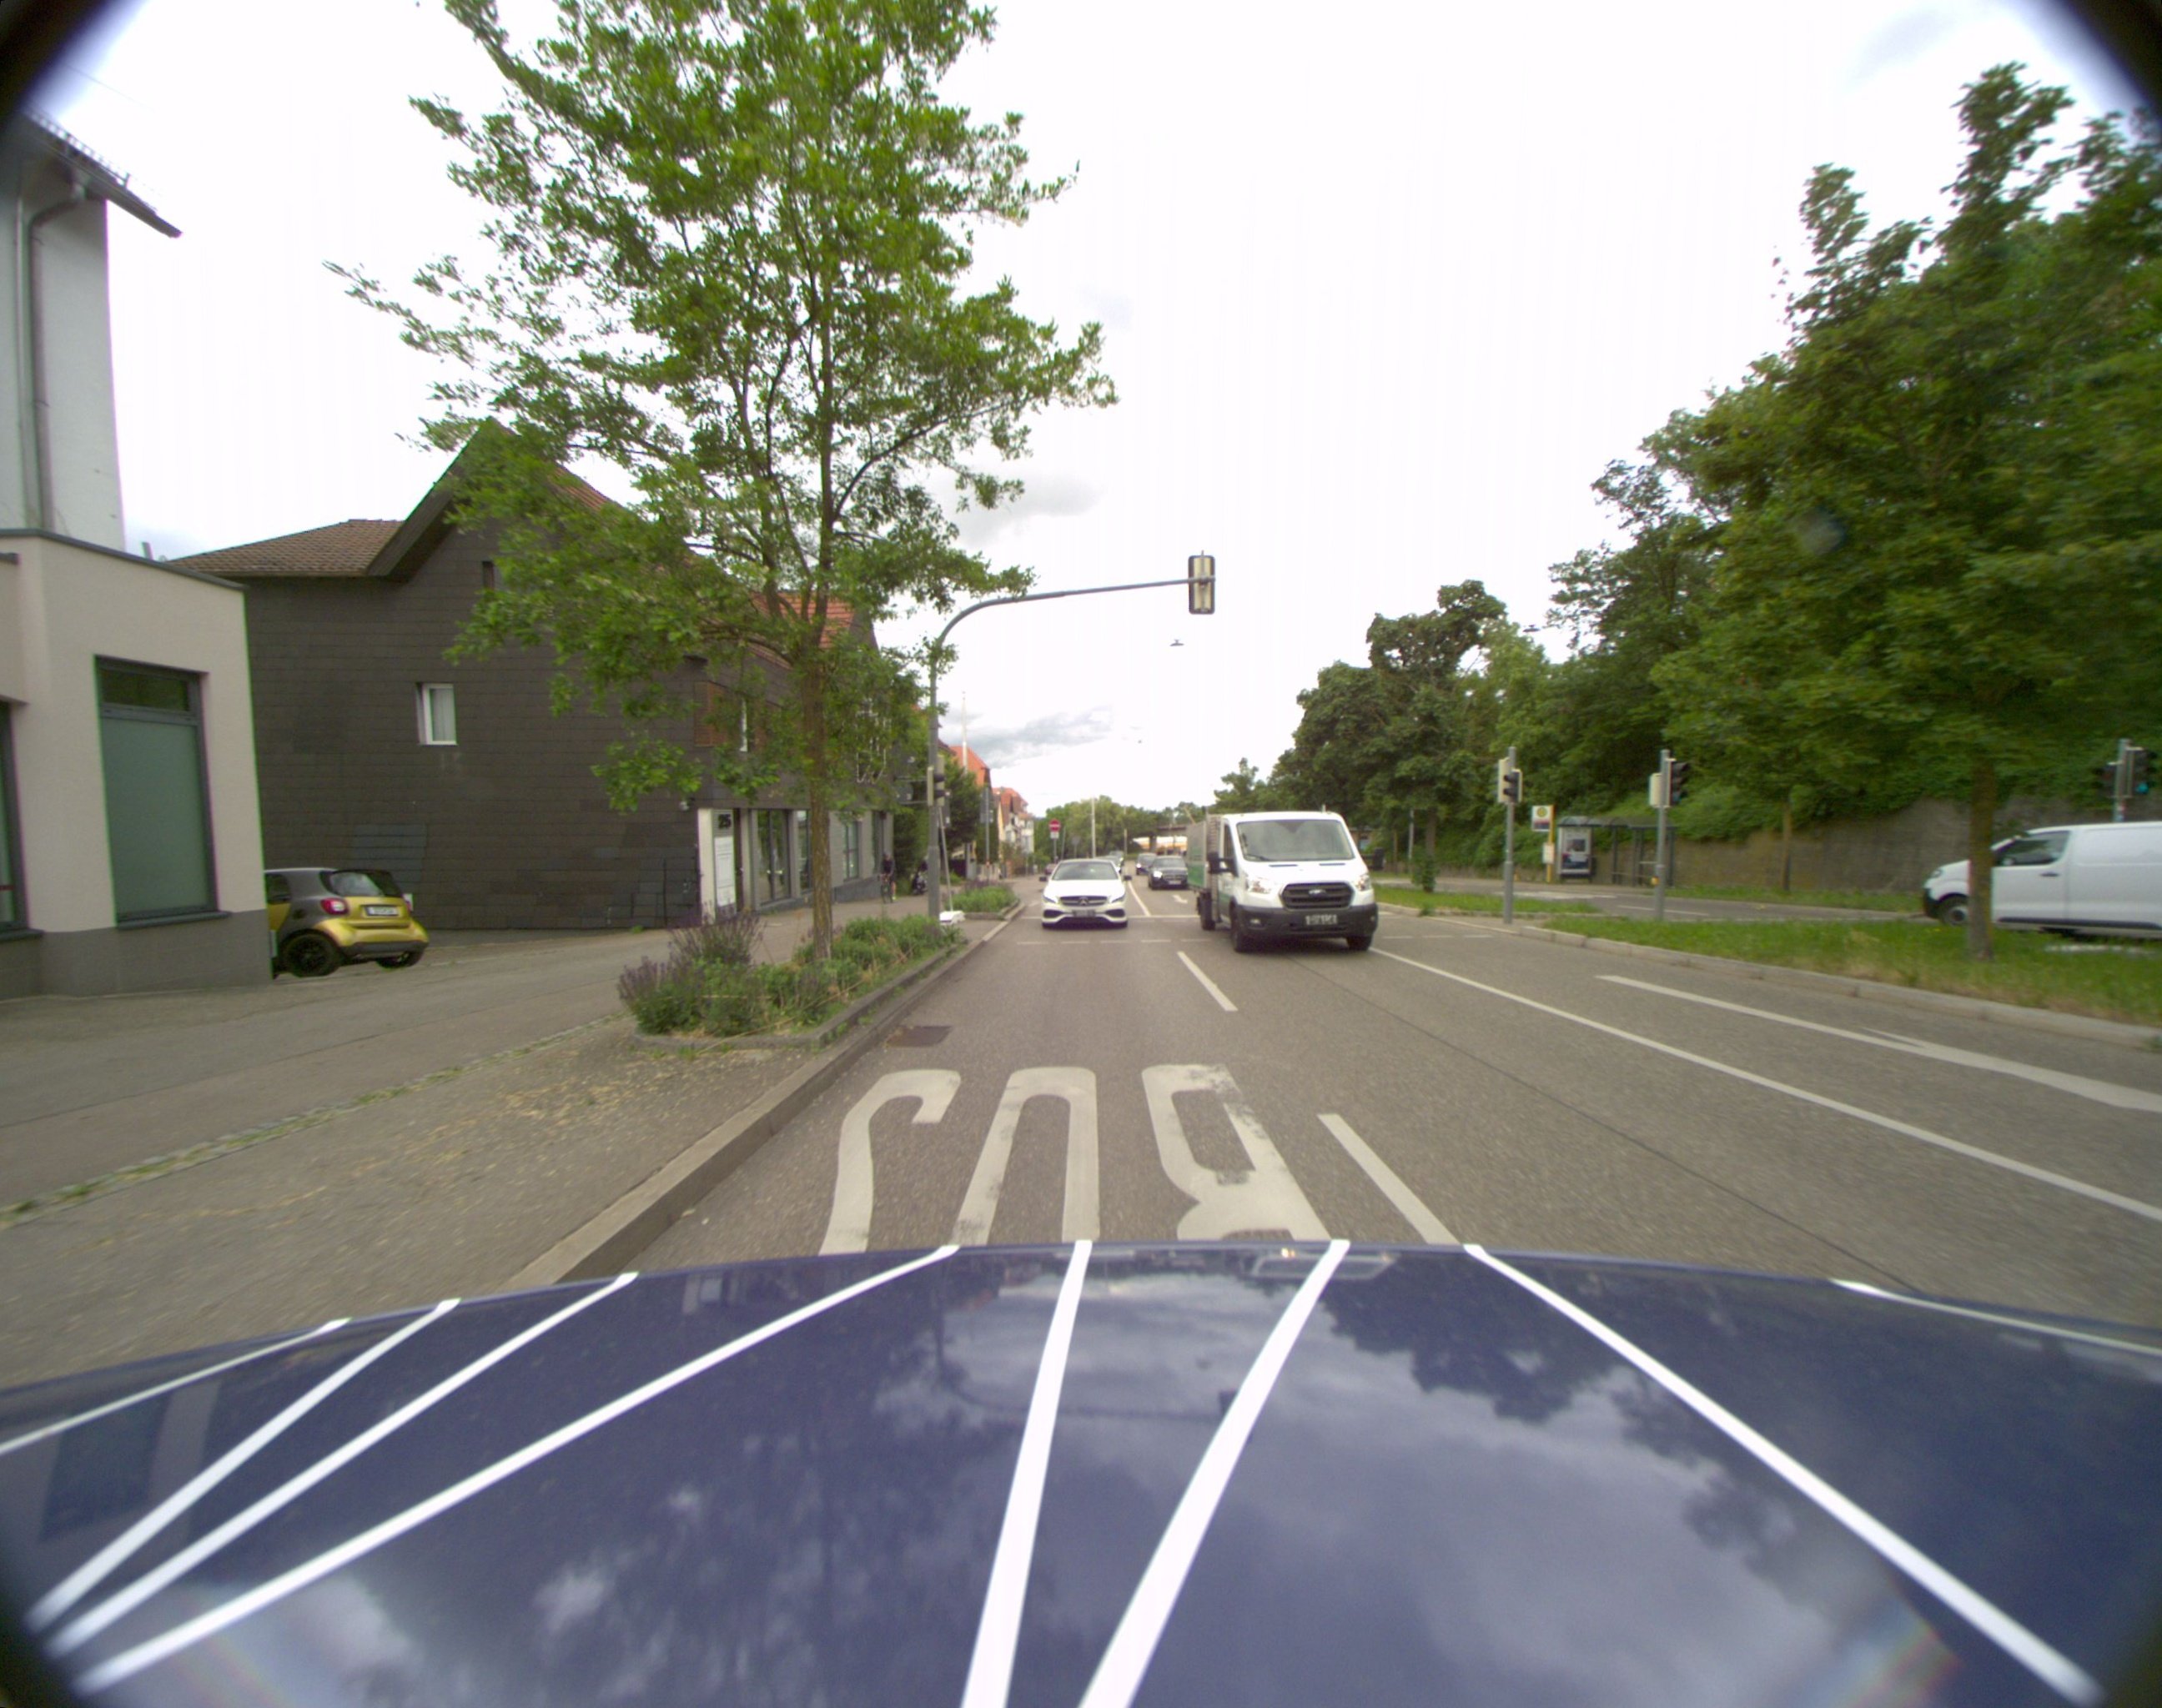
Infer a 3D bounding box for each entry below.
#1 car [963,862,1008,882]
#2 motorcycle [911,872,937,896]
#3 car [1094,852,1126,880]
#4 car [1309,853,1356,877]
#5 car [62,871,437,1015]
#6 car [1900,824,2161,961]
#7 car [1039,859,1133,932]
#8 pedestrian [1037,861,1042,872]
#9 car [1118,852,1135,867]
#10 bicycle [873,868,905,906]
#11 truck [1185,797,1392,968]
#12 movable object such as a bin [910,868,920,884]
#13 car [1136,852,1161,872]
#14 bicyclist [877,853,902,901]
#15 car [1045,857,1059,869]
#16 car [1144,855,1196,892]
[{"bbox_3d":[-8.809,1.654,70.126,3.799,1.396,1.545,-6,1,-16],"label":"car"},{"bbox_3d":[-7.264,1.361,35.199,0.697,1.045,1.967,0,0,3],"label":"motorcycle"},{"bbox_3d":[1.752,0.710,44.969,1.777,1.532,4.001,-2,0,3],"label":"car"},{"bbox_3d":[16.153,0.686,48.954,1.733,1.420,3.789,-2,1,0],"label":"car"},{"bbox_3d":[-11.164,1.138,10.436,3.000,1.455,1.666,-6,-1,-9],"label":"car"},{"bbox_3d":[16.380,0.521,11.832,1.943,1.946,5.022,-1,0,2],"label":"car"},{"bbox_3d":[0.219,0.829,16.850,1.817,1.390,4.001,-1,0,3],"label":"car"},{"bbox_3d":[-5.831,1.786,106.885,0.713,1.462,0.695,-2,0,0],"label":"pedestrian"},{"bbox_3d":[5.653,0.635,93.989,1.776,1.783,4.003,0,0,8],"label":"car"},{"bbox_3d":[-6.642,1.118,26.356,0.572,1.254,2.039,0,-1,1],"label":"bicycle"},{"bbox_3d":[3.238,0.350,13.450,2.080,2.308,6.331,0,1,1],"label":"truck"},{"bbox_3d":[-9.986,1.307,45.673,0.453,0.934,0.561,3,0,2],"label":"movable object such as a bin"},{"bbox_3d":[5.191,0.623,58.754,1.777,1.520,4.001,0,0,3],"label":"car"},{"bbox_3d":[-6.628,0.798,26.331,0.539,1.623,0.947,-1,0,2],"label":"bicyclist"},{"bbox_3d":[-4.343,1.301,113.426,1.923,1.641,4.000,-1,0,0],"label":"car"},{"bbox_3d":[3.893,0.835,34.011,1.915,1.472,4.401,-2,0,2],"label":"car"}]
